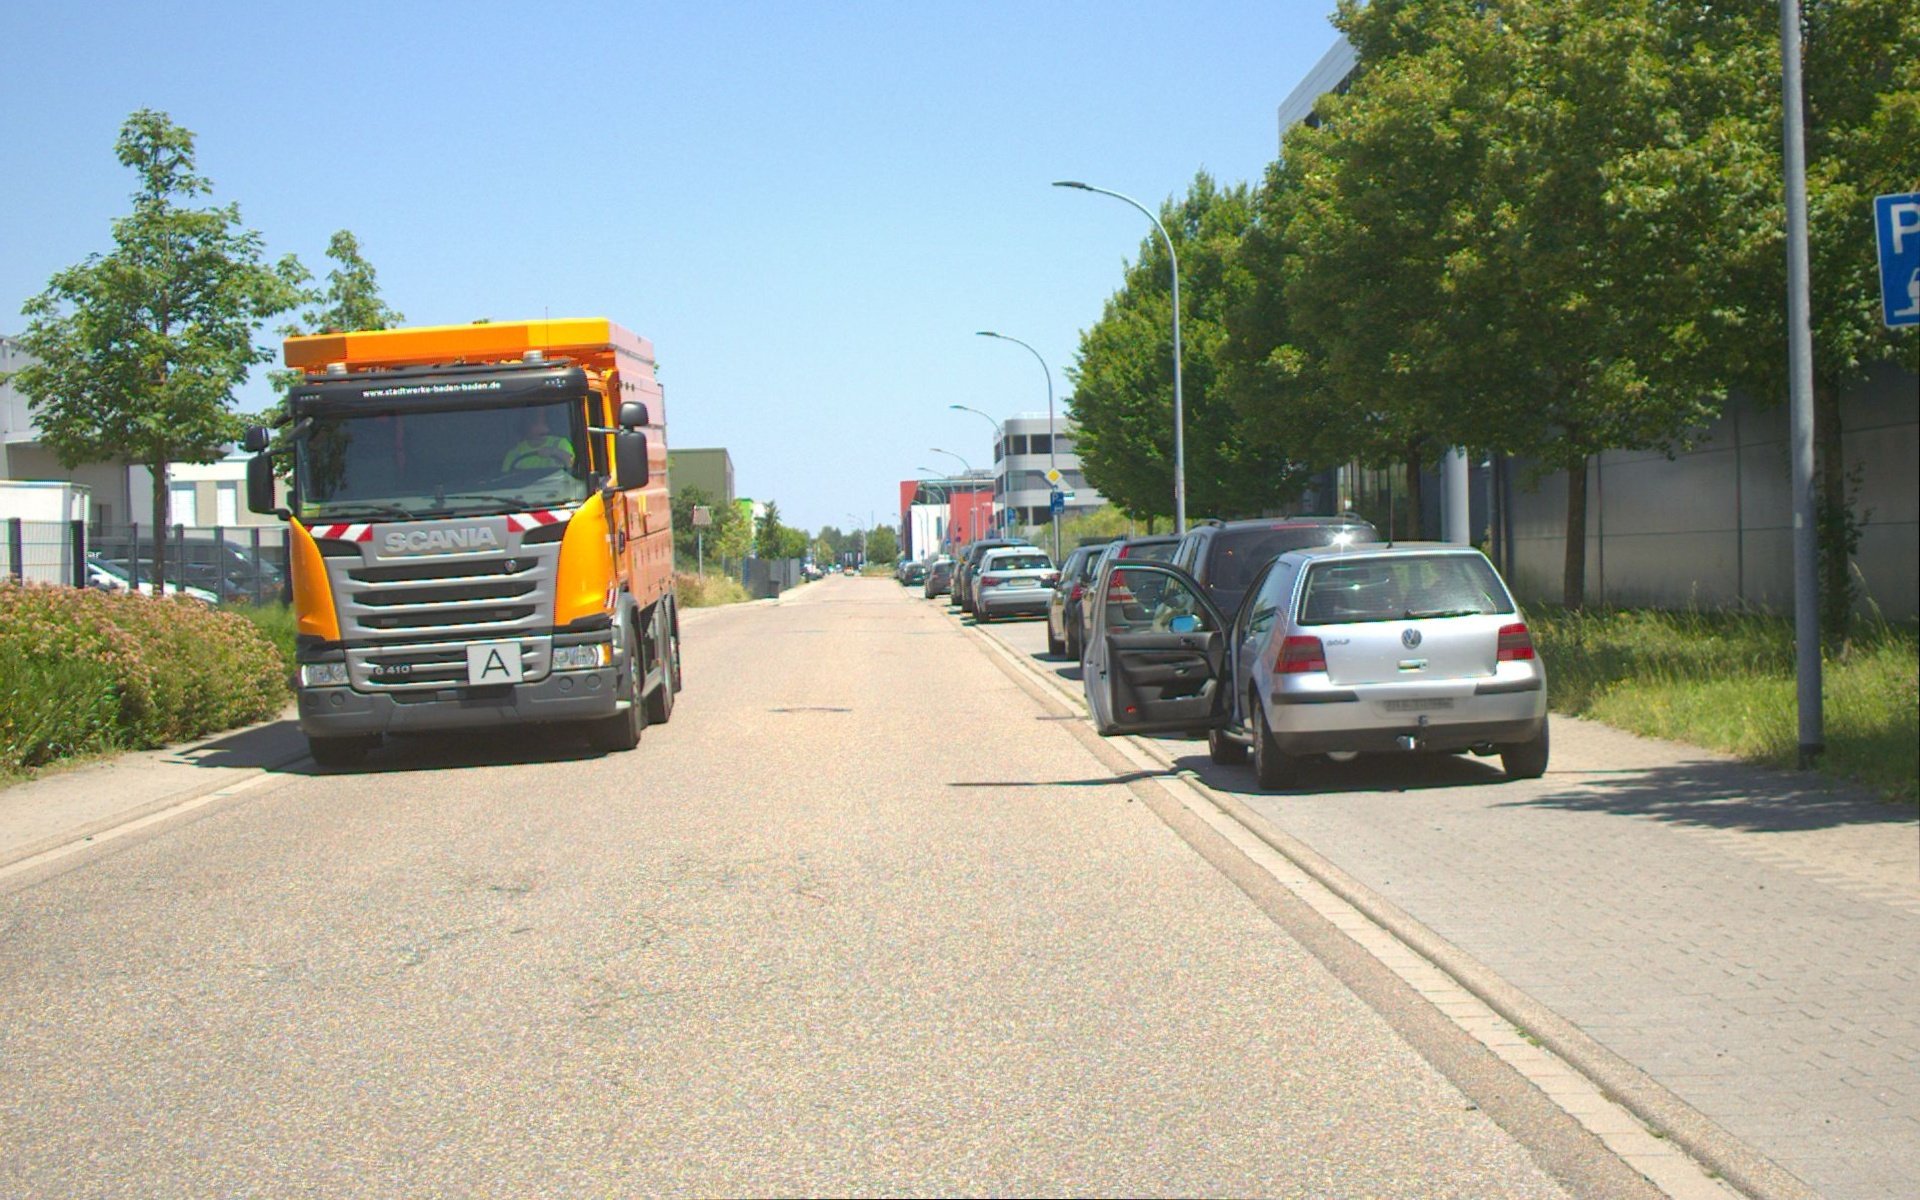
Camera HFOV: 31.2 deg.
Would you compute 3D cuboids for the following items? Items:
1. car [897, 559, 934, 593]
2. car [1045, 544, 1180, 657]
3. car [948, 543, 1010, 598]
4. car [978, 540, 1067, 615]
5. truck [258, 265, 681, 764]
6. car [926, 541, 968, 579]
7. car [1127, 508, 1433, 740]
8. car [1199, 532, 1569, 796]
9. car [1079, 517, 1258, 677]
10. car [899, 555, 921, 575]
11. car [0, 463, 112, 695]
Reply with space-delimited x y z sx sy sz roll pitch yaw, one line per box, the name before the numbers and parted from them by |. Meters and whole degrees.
car | -1.936 -1.053 148.283 1.495 1.405 3.500 -2 1 -2
car | 1.992 -0.017 45.644 1.495 1.405 3.500 -2 1 -2
car | 0.483 -0.804 91.635 1.495 1.405 3.500 -2 1 -2
car | 1.219 -0.466 68.431 1.585 1.405 3.500 -2 1 -2
truck | -3.882 -0.702 29.035 2.448 3.501 8.273 -3 1 -2
car | -0.512 -1.545 132.767 1.495 1.405 3.500 -2 1 -2
car | 2.481 0.150 27.556 1.678 1.680 4.001 -2 1 -5
car | 2.553 0.345 21.471 1.718 1.445 3.646 -2 1 -2
car | 2.333 -0.062 39.315 1.721 1.688 3.984 -2 1 -1
car | -3.550 -2.502 243.994 1.495 1.405 3.500 -2 1 -2
car | -12.307 -0.191 39.390 4.714 2.577 2.000 -2 1 -5
